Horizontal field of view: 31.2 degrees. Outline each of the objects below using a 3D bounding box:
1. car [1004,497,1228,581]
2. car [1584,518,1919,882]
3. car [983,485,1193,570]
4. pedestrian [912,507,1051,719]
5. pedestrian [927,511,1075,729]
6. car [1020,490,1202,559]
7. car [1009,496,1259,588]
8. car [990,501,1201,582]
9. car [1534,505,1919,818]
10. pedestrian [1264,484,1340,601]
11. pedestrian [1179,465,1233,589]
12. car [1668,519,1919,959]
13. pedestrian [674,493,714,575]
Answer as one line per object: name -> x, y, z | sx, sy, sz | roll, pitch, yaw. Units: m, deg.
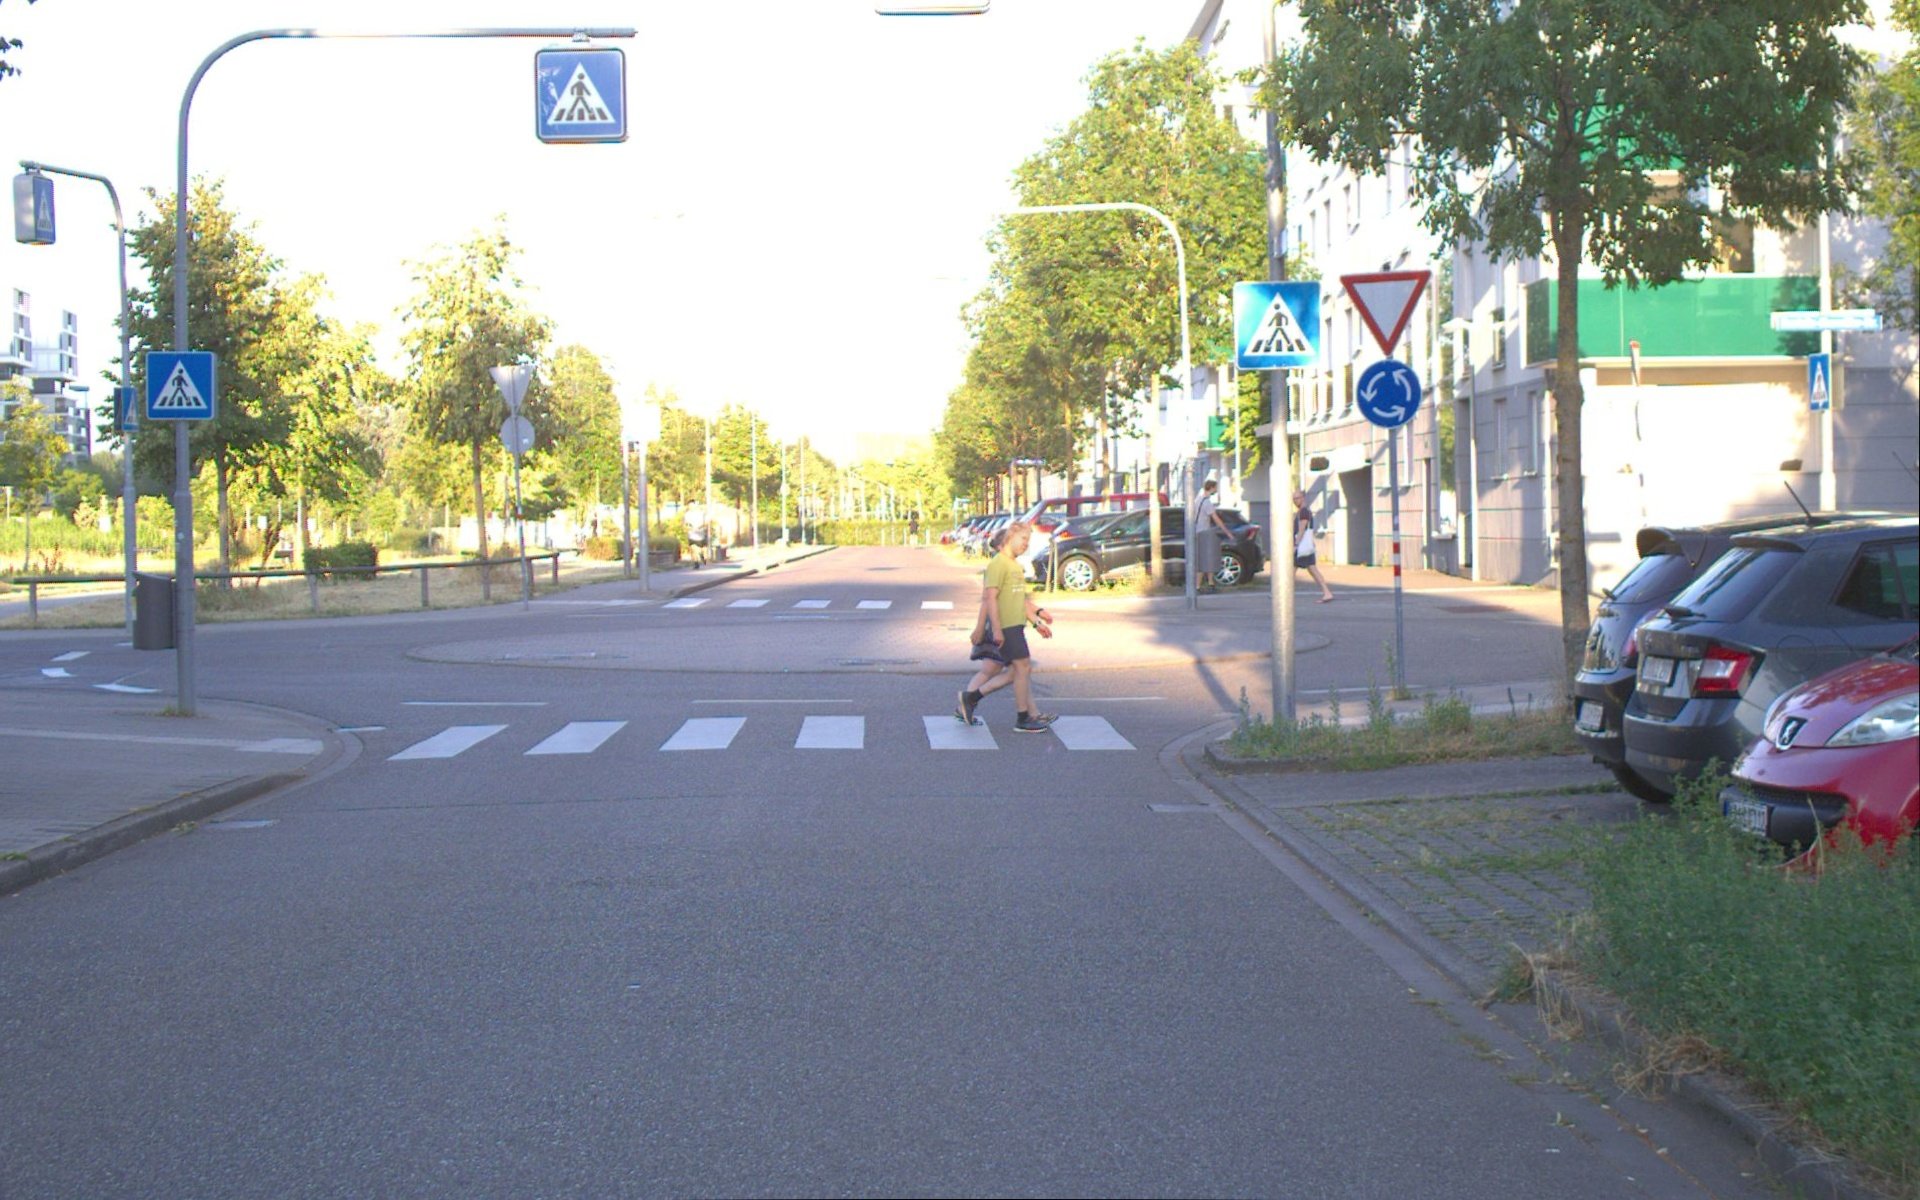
car -> 3.063, -1.214, 68.315 | 4.355, 1.590, 2.000 | -1, 1, 1
car -> 4.867, 0.384, 15.340 | 3.802, 1.503, 1.679 | -1, 1, -2
car -> 3.181, -1.829, 86.327 | 5.002, 2.038, 2.251 | -1, 1, -5
pedestrian -> 0.170, 0.093, 27.977 | 0.983, 1.687, 0.700 | -1, 1, -12
pedestrian -> 0.319, 0.148, 27.280 | 1.018, 1.687, 0.760 | -1, 1, -11
car -> 3.627, -1.829, 83.275 | 4.263, 1.590, 2.000 | -1, 1, -1
car -> 3.167, -1.078, 63.165 | 4.484, 1.590, 2.000 | -1, 1, 1
car -> 2.772, -1.208, 71.048 | 4.263, 1.590, 2.000 | -1, 1, 1
car -> 5.037, 0.261, 17.807 | 3.802, 1.503, 1.679 | -1, 1, -1
pedestrian -> 5.241, -0.884, 52.767 | 1.003, 1.782, 0.762 | 0, 1, -7
pedestrian -> 4.045, -1.205, 56.547 | 0.846, 2.007, 0.943 | -1, 1, 5
car -> 4.732, 0.439, 12.782 | 3.802, 1.503, 1.679 | -1, 1, -2
pedestrian -> -6.570, -1.626, 84.777 | 0.866, 2.007, 0.790 | -1, 1, -11
